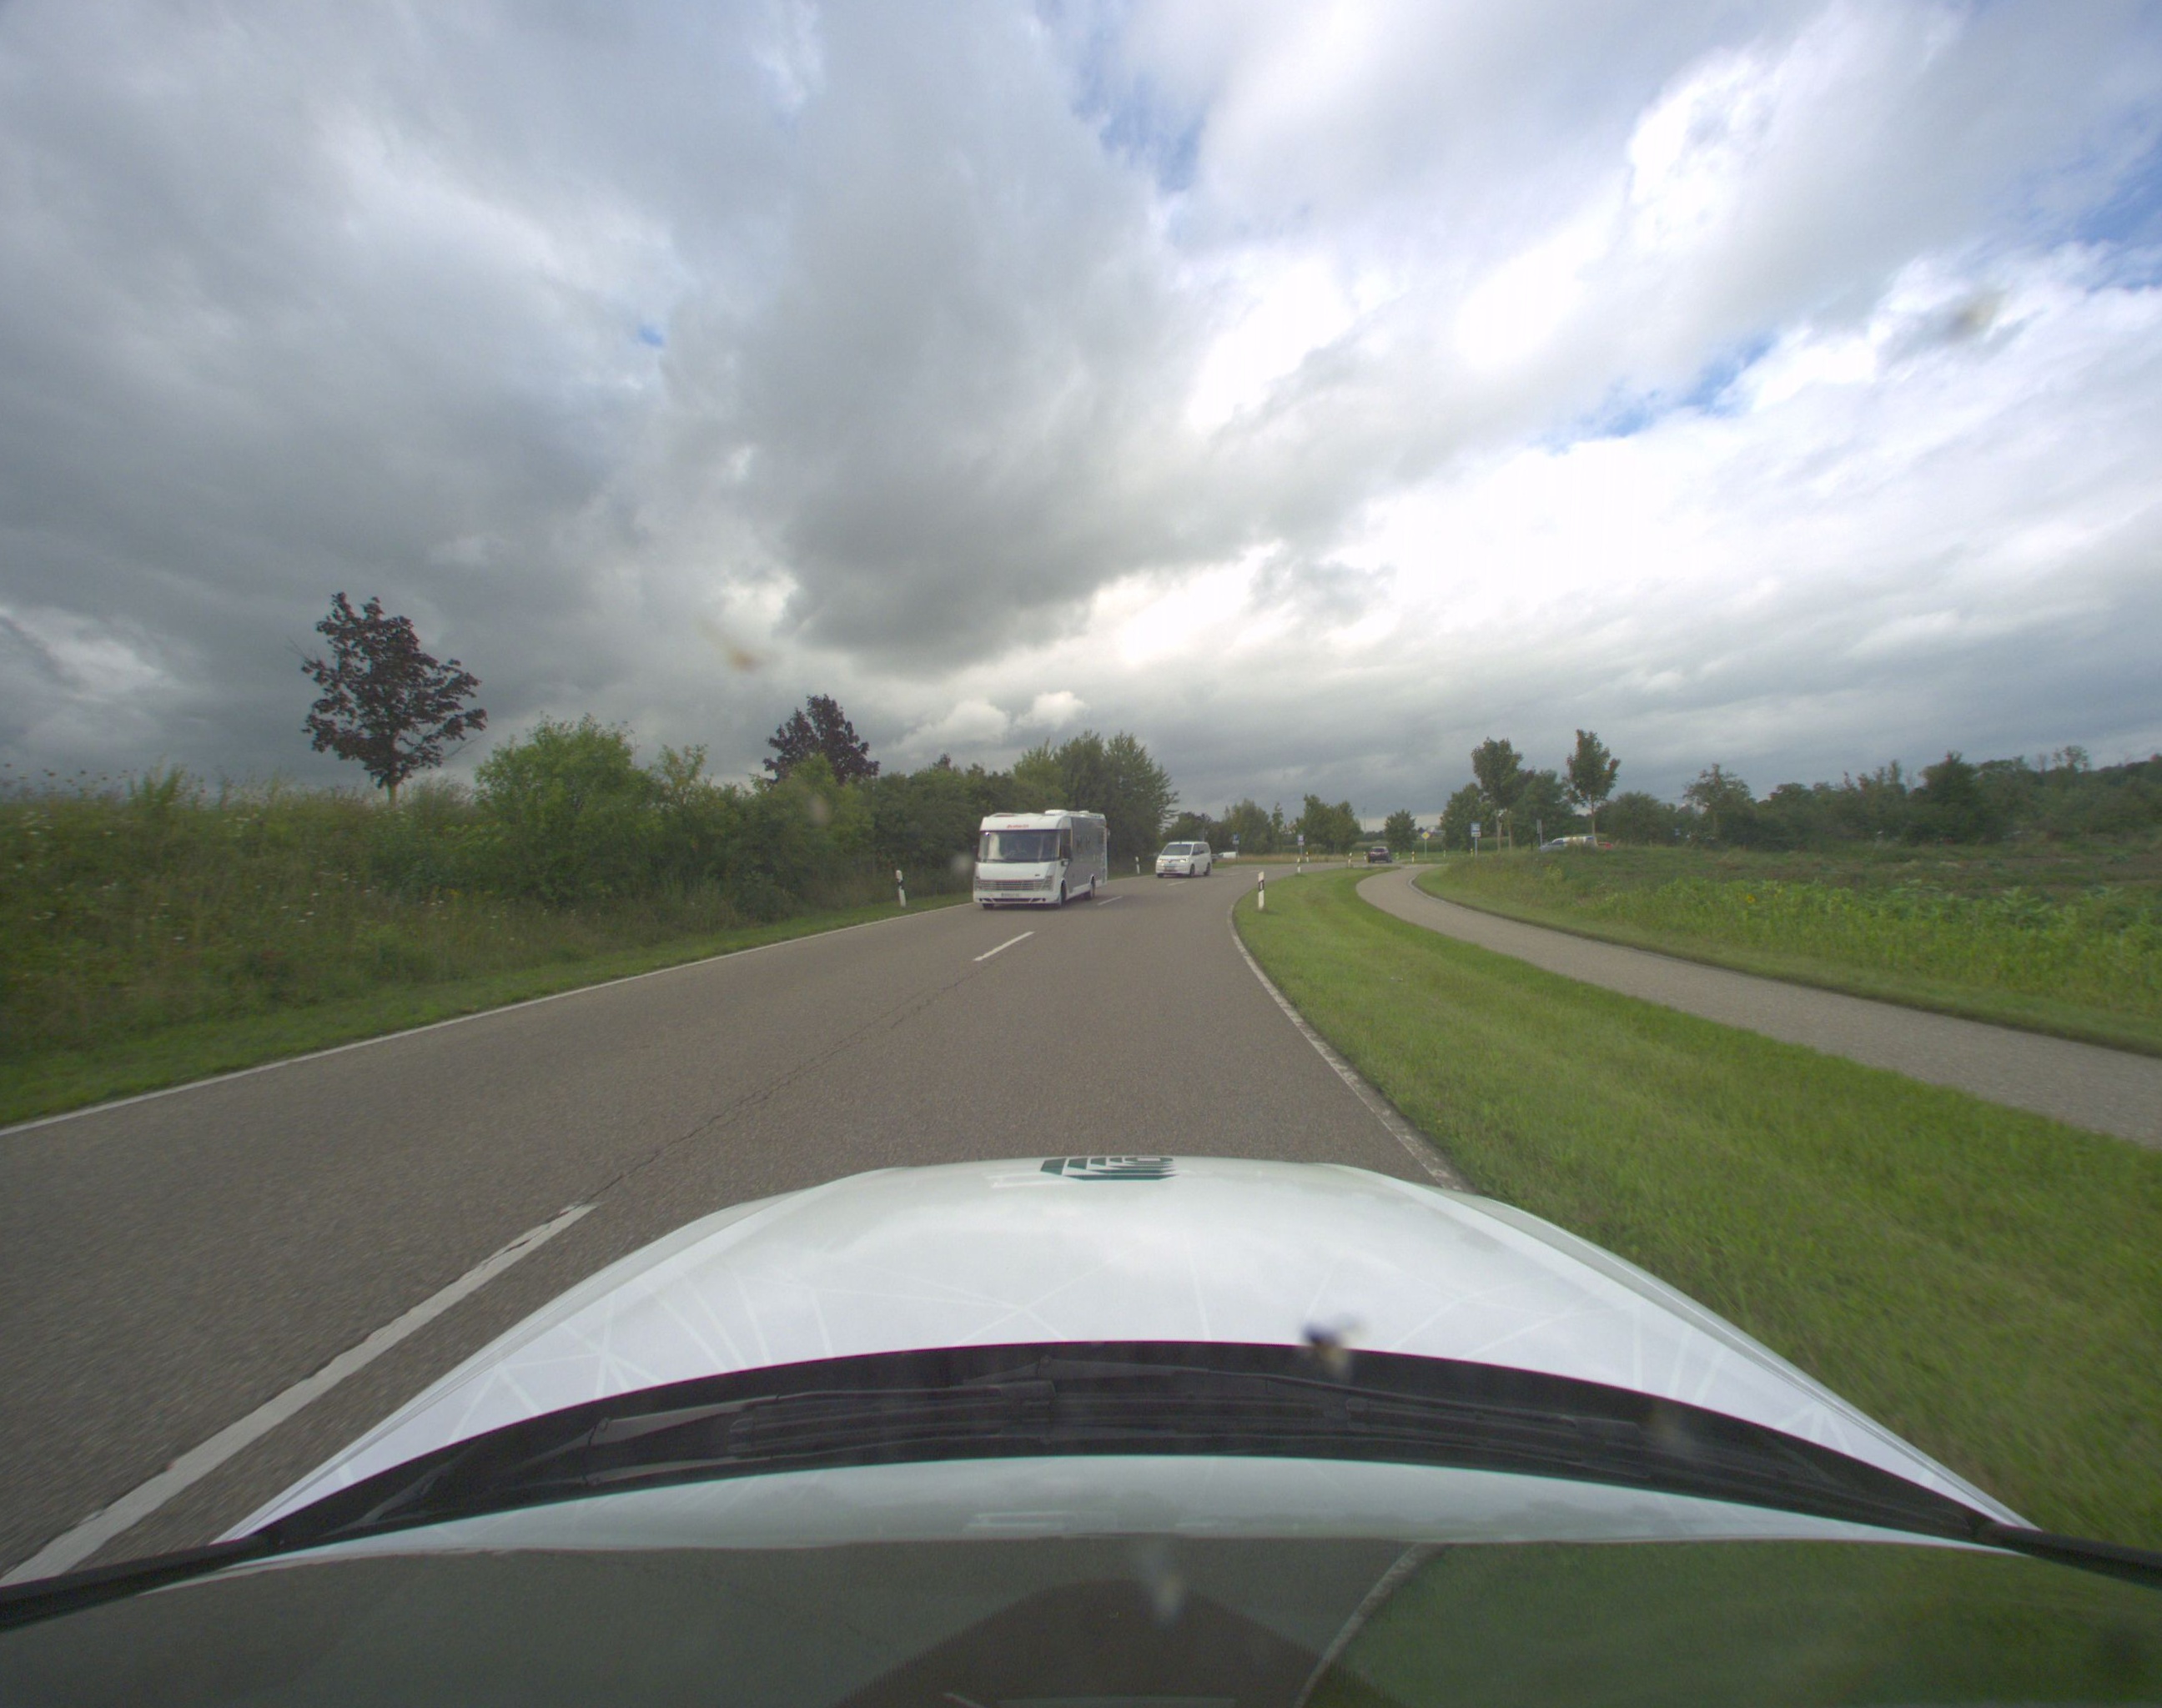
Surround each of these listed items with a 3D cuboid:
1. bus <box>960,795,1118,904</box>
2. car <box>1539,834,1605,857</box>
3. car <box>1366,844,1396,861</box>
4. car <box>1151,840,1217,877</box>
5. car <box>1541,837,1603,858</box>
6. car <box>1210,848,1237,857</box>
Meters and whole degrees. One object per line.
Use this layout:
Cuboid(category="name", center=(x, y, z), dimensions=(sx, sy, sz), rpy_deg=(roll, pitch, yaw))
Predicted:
Cuboid(category="bus", center=(-0.916, -0.106, 24.768), dimensions=(2.458, 2.711, 8.461), rpy_deg=(-1, 0, 13))
Cuboid(category="car", center=(43.882, -0.753, 72.865), dimensions=(4.898, 1.974, 1.967), rpy_deg=(-1, 0, 35))
Cuboid(category="car", center=(27.383, -0.168, 74.305), dimensions=(1.823, 1.417, 4.025), rpy_deg=(-1, 0, 30))
Cuboid(category="car", center=(5.680, 0.209, 44.378), dimensions=(2.094, 1.868, 5.216), rpy_deg=(-1, 0, 24))
Cuboid(category="car", center=(41.257, -0.537, 68.440), dimensions=(4.230, 1.566, 1.850), rpy_deg=(-3, -1, 35))
Cuboid(category="car", center=(22.440, -0.219, 128.335), dimensions=(3.955, 1.380, 1.483), rpy_deg=(-1, 0, 18))
